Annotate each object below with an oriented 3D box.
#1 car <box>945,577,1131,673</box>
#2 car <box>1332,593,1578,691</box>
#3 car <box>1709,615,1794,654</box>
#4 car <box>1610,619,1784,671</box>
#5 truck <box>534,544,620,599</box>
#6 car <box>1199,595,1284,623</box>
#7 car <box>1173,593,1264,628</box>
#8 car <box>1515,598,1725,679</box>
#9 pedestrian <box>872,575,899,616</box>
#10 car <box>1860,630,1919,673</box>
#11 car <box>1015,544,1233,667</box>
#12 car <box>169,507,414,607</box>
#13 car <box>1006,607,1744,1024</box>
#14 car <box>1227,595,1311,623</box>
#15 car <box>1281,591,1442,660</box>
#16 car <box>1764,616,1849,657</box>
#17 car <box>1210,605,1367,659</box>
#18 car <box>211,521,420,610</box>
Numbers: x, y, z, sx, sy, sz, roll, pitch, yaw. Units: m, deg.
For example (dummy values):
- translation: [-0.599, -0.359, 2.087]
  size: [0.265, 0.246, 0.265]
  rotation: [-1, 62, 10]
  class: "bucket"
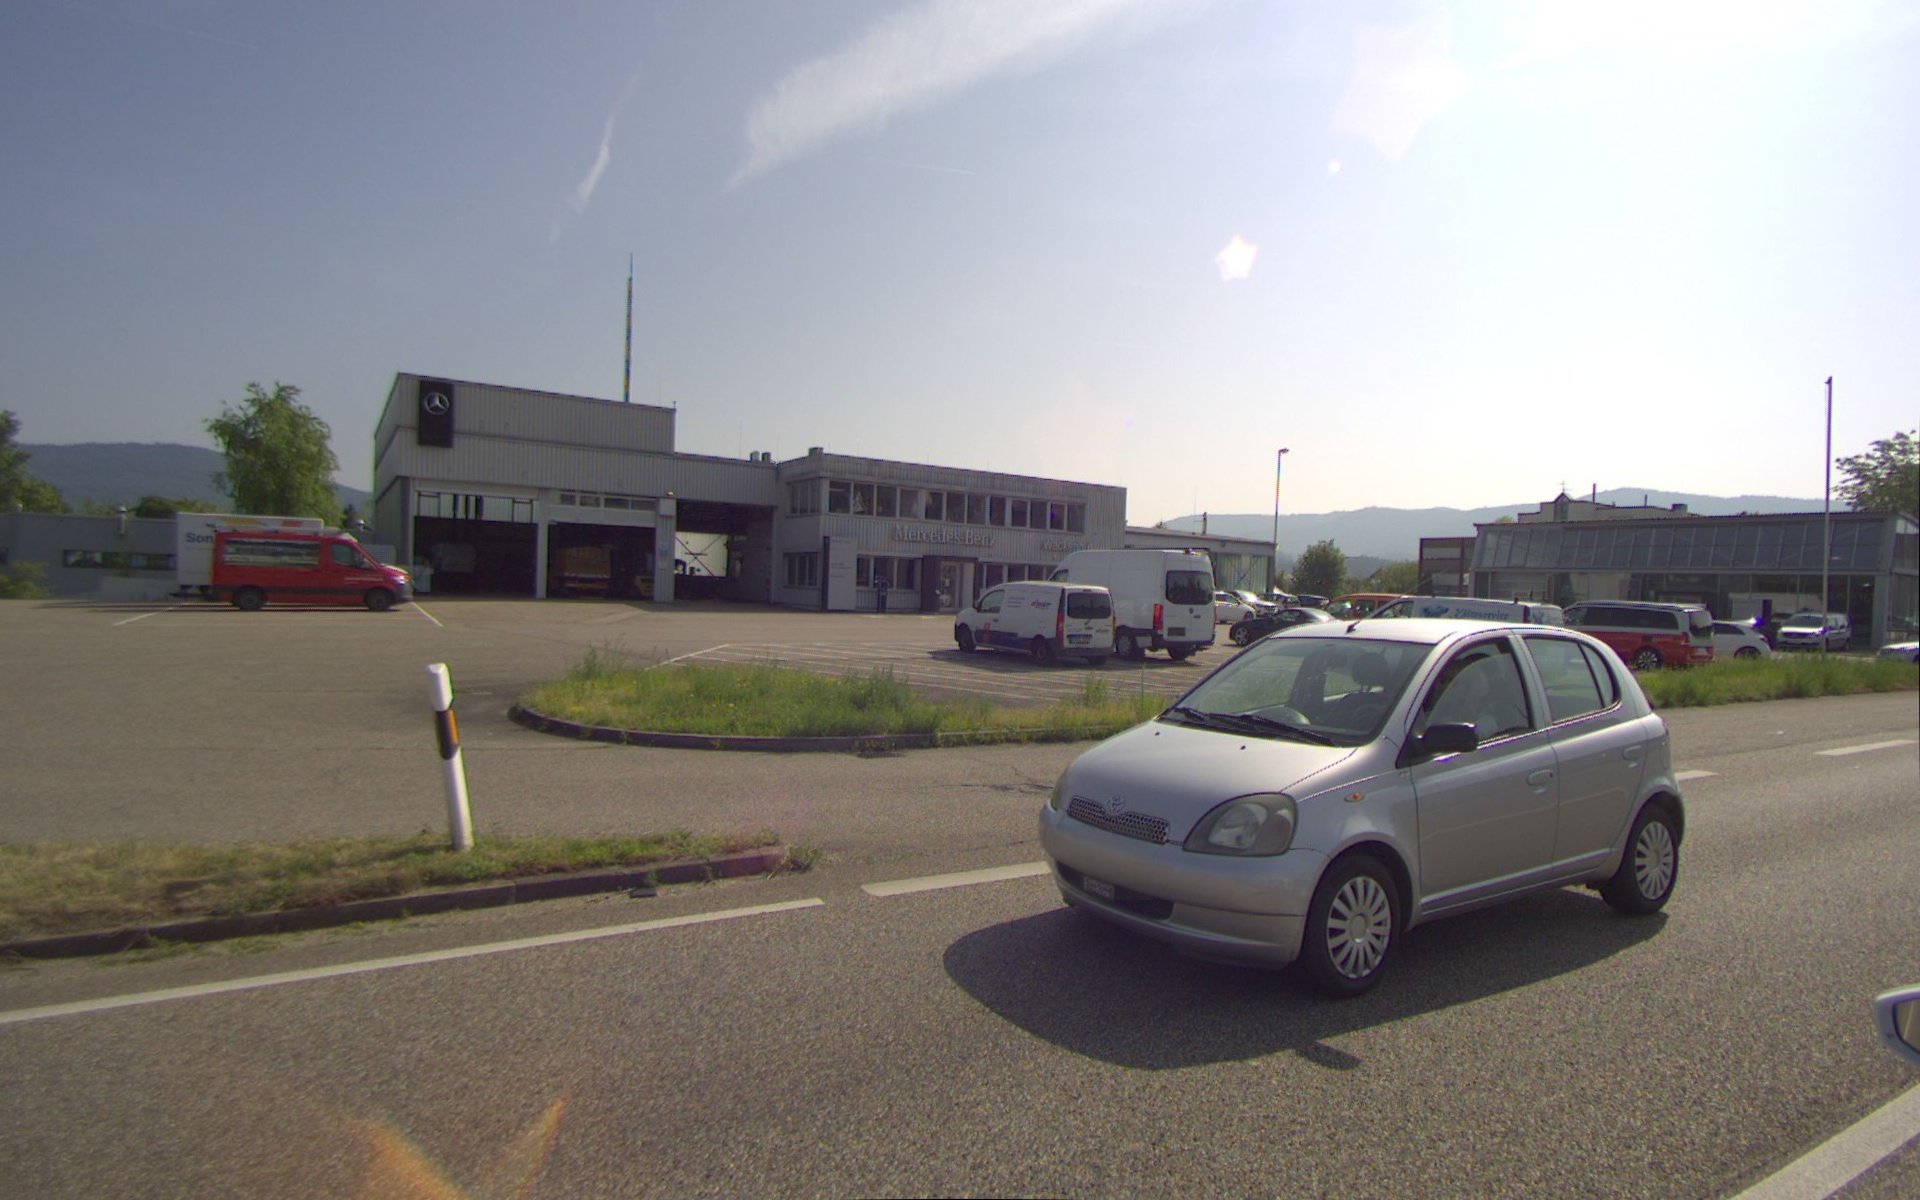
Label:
- translation: [1.695, 0.499, 23.295]
  size: [1.966, 1.864, 4.417]
  rotation: [2, 2, -33]
  class: "car"
- translation: [11.324, 0.874, 23.312]
  size: [2.121, 1.882, 4.642]
  rotation: [1, 2, -33]
  class: "car"
- translation: [38.174, 1.642, 48.399]
  size: [4.886, 1.736, 1.794]
  rotation: [1, 1, -34]
  class: "car"
- translation: [24.131, 1.436, 33.069]
  size: [4.146, 1.422, 1.898]
  rotation: [3, 0, 17]
  class: "car"
- translation: [-18.516, -1.306, 48.282]
  size: [2.425, 2.388, 6.836]
  rotation: [2, -1, -33]
  class: "truck"
- translation: [16.884, 0.514, 60.458]
  size: [2.184, 1.587, 4.794]
  rotation: [1, 1, -29]
  class: "car"
- translation: [12.834, 0.521, 49.725]
  size: [4.520, 1.512, 1.794]
  rotation: [3, 0, -34]
  class: "car"
- translation: [19.736, 1.072, 30.268]
  size: [2.205, 2.008, 4.763]
  rotation: [1, 2, -33]
  class: "car"
- translation: [-3.274, -0.191, 43.862]
  size: [0.842, 1.712, 0.814]
  rotation: [2, 0, -35]
  class: "pedestrian"
- translation: [33.182, 1.753, 33.510]
  size: [4.307, 1.385, 1.854]
  rotation: [1, 0, 17]
  class: "car"
- translation: [3.993, 0.039, 25.752]
  size: [2.260, 2.781, 5.689]
  rotation: [2, 2, -31]
  class: "car"
- translation: [-21.701, -1.301, 32.986]
  size: [6.457, 2.894, 2.381]
  rotation: [1, 0, -33]
  class: "car"
- translation: [2.231, 0.831, 5.247]
  size: [3.662, 1.492, 1.670]
  rotation: [2, -1, -29]
  class: "car"
- translation: [19.029, 0.556, 62.060]
  size: [2.184, 1.587, 4.794]
  rotation: [1, 1, -29]
  class: "car"
- translation: [12.637, 0.758, 31.854]
  size: [1.980, 1.832, 4.354]
  rotation: [1, 2, -33]
  class: "car"
- translation: [39.126, 1.649, 46.390]
  size: [4.360, 1.736, 1.795]
  rotation: [1, 1, -33]
  class: "car"
- translation: [9.882, 0.927, 30.513]
  size: [1.780, 1.336, 4.354]
  rotation: [1, 1, -33]
  class: "car"
- translation: [-19.447, -0.972, 30.569]
  size: [5.166, 2.418, 1.870]
  rotation: [1, 0, -33]
  class: "car"
